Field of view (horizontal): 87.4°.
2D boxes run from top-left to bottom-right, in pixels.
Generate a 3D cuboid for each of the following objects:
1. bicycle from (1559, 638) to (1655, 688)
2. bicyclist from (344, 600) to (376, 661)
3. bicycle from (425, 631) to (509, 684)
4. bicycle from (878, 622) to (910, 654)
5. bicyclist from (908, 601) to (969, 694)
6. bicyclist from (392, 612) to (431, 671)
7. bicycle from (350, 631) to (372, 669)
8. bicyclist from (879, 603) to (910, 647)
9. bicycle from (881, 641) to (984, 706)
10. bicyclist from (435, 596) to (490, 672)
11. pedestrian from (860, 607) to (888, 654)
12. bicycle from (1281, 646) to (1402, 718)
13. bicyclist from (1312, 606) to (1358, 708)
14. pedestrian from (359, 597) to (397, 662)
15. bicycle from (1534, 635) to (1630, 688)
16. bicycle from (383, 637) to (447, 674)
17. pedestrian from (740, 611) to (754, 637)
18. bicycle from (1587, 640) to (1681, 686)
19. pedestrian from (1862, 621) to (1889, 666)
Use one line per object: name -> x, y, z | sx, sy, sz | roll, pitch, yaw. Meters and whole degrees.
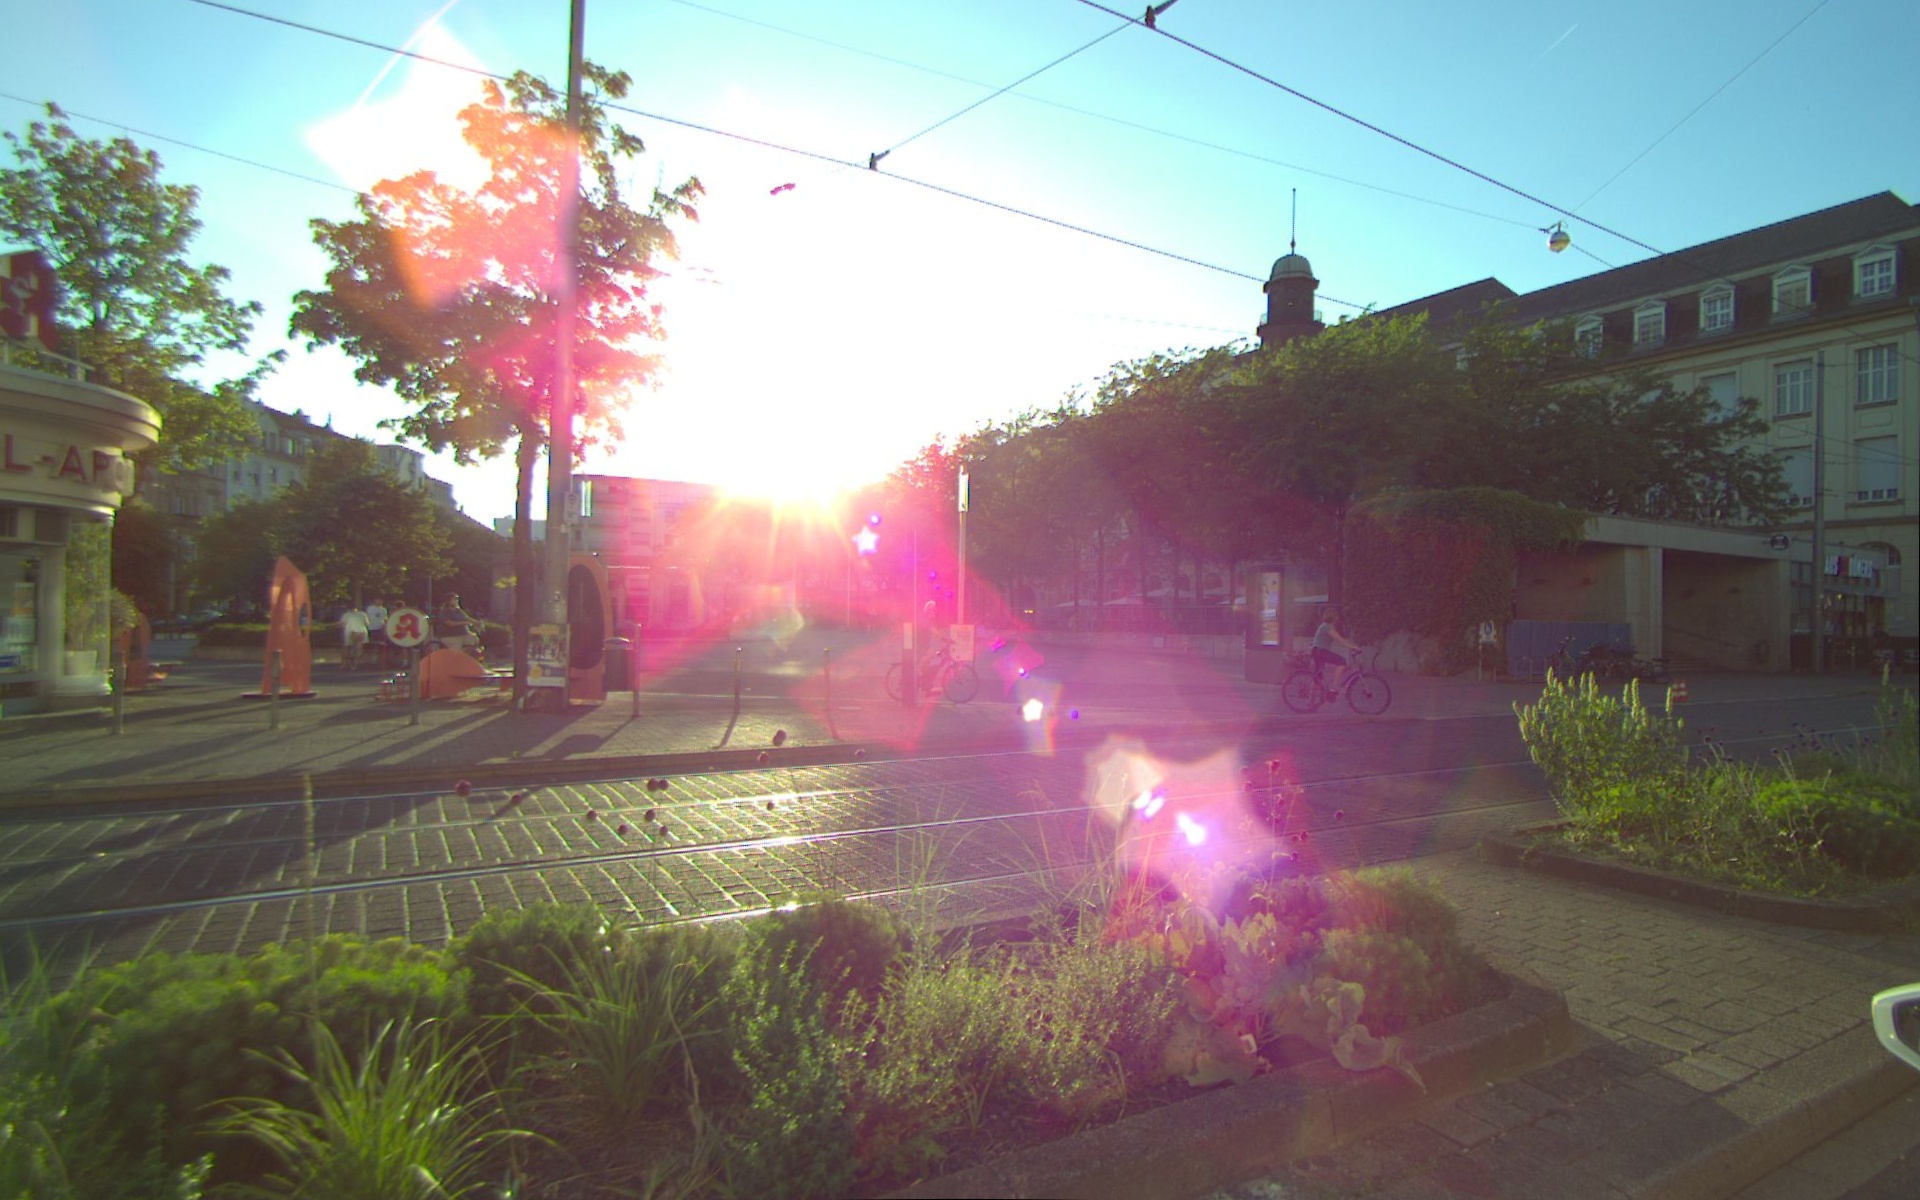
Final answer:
bicycle -> 17.870, 1.722, 27.806 | 0.573, 1.271, 2.231 | 3, -2, -29
bicyclist -> -15.383, 0.766, 25.756 | 0.669, 1.540, 0.652 | 1, -1, -31
bicycle -> -10.751, 1.247, 21.911 | 1.676, 1.126, 0.496 | 0, -2, 12
bicycle -> -3.221, 1.820, 48.797 | 0.573, 1.495, 2.230 | 2, -2, -31
bicyclist -> -0.380, 0.857, 18.191 | 0.788, 1.632, 0.738 | 1, -2, 29
bicyclist -> -14.478, 1.085, 26.521 | 0.644, 1.540, 0.677 | 1, 0, -3
bicycle -> -15.267, 1.264, 25.615 | 0.420, 0.927, 1.518 | 3, -2, -30
bicyclist -> -3.160, 1.219, 48.795 | 1.130, 2.045, 0.954 | 3, -2, -31
bicycle -> -0.508, 1.308, 18.232 | 1.893, 1.126, 0.460 | -1, -2, 29
bicyclist -> -10.875, 0.743, 21.955 | 0.688, 1.597, 0.755 | 2, -2, 12
pedestrian -> -3.907, 1.380, 45.816 | 0.922, 2.088, 0.931 | 1, 0, -35
bicycle -> 6.494, 1.387, 17.159 | 1.898, 1.126, 0.461 | 1, -2, 20
bicyclist -> 6.426, 0.971, 17.230 | 0.690, 1.690, 0.628 | 1, -2, 19
pedestrian -> -15.750, 0.797, 27.195 | 0.646, 1.698, 0.675 | 3, -2, -15
bicycle -> 16.636, 1.622, 26.926 | 0.573, 1.317, 2.187 | 3, -2, -29
bicycle -> -14.377, 1.461, 26.508 | 1.400, 0.927, 0.425 | 2, -2, -2
pedestrian -> -14.745, 1.663, 69.635 | 0.758, 1.801, 0.570 | 1, -1, -39
bicycle -> 19.242, 1.780, 28.737 | 0.578, 1.248, 2.231 | 2, -2, -29
pedestrian -> 35.311, 1.672, 38.752 | 0.705, 1.667, 0.657 | 1, 0, 38
